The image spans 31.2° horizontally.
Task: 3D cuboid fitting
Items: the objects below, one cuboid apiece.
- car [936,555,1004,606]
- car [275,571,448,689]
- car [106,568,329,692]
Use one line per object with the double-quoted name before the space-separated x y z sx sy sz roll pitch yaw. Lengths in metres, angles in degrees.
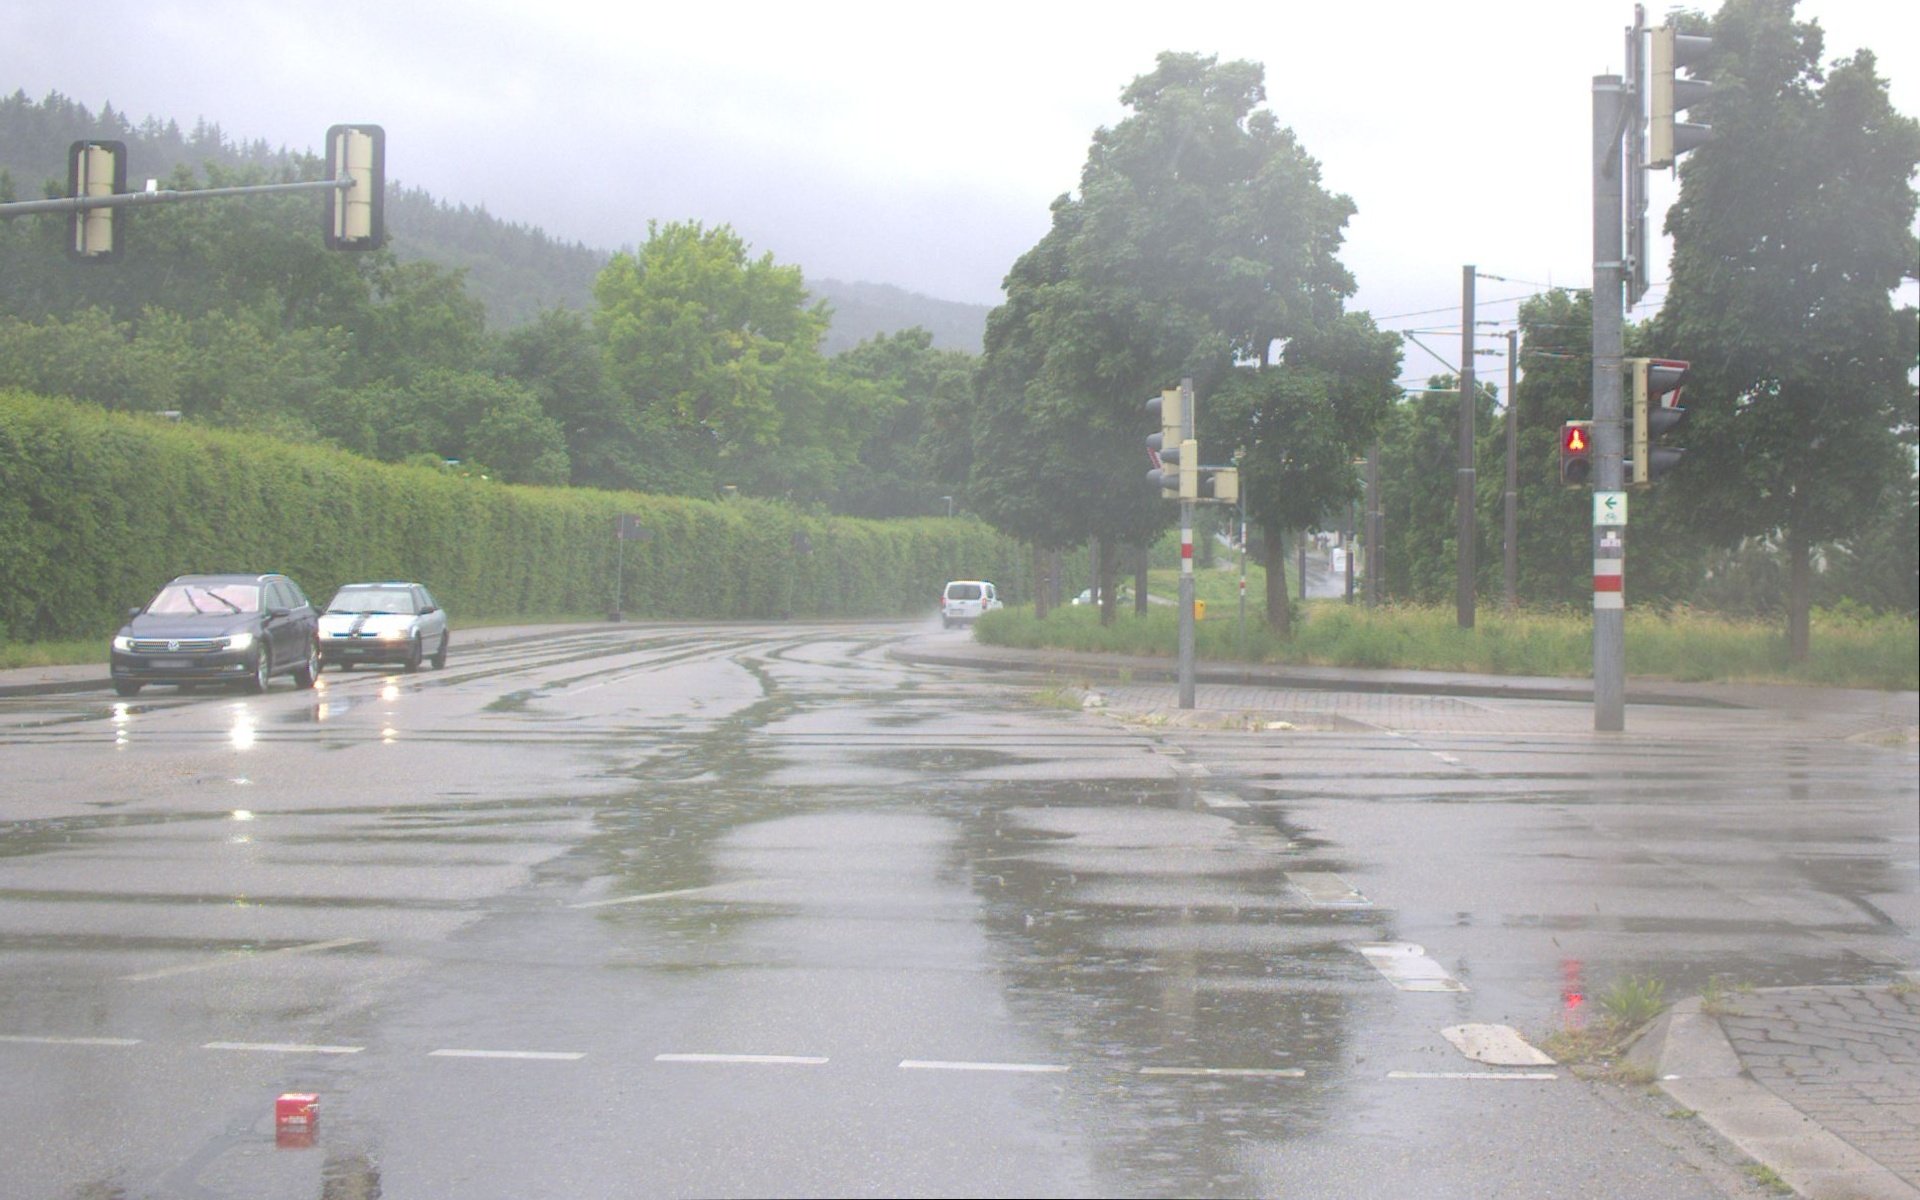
"car" 0.398 -0.769 130.473 1.954 1.897 4.118 0 1 10
"car" -9.319 0.438 53.838 2.036 1.702 4.066 1 1 -1
"car" -9.309 0.341 43.425 1.709 1.461 4.453 0 1 2
